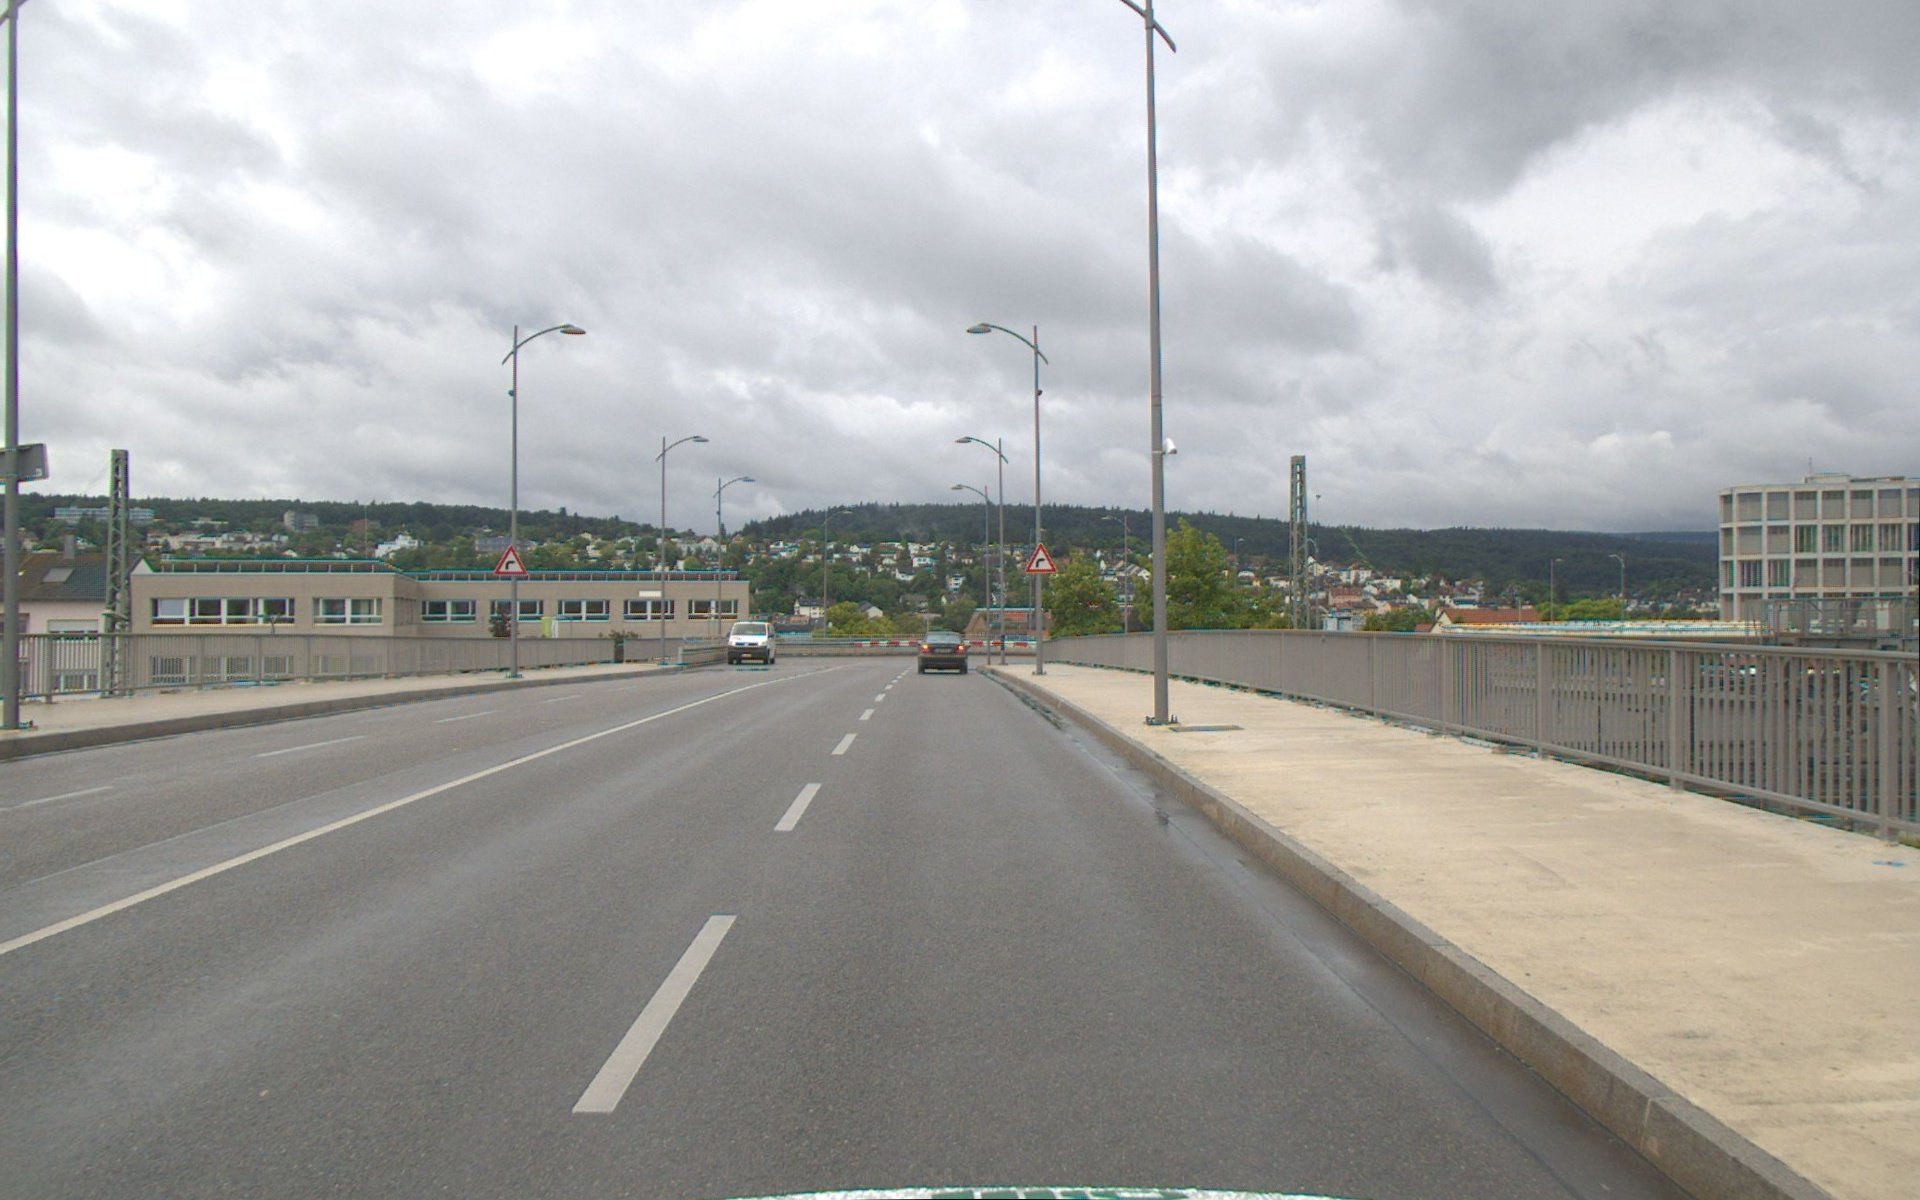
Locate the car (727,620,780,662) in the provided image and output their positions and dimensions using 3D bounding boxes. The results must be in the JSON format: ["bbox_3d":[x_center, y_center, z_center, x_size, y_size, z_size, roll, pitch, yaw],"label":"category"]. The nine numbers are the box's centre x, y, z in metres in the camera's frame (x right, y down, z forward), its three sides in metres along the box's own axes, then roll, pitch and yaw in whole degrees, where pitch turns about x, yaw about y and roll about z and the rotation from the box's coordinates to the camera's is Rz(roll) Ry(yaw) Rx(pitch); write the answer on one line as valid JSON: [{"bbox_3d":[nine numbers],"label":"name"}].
[{"bbox_3d":[-9.548,1.921,76.780,1.848,1.854,4.957,1,-2,0],"label":"car"}]

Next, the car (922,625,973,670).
[{"bbox_3d":[-0.434,1.636,56.555,1.671,1.444,3.724,1,-2,-1],"label":"car"}]
